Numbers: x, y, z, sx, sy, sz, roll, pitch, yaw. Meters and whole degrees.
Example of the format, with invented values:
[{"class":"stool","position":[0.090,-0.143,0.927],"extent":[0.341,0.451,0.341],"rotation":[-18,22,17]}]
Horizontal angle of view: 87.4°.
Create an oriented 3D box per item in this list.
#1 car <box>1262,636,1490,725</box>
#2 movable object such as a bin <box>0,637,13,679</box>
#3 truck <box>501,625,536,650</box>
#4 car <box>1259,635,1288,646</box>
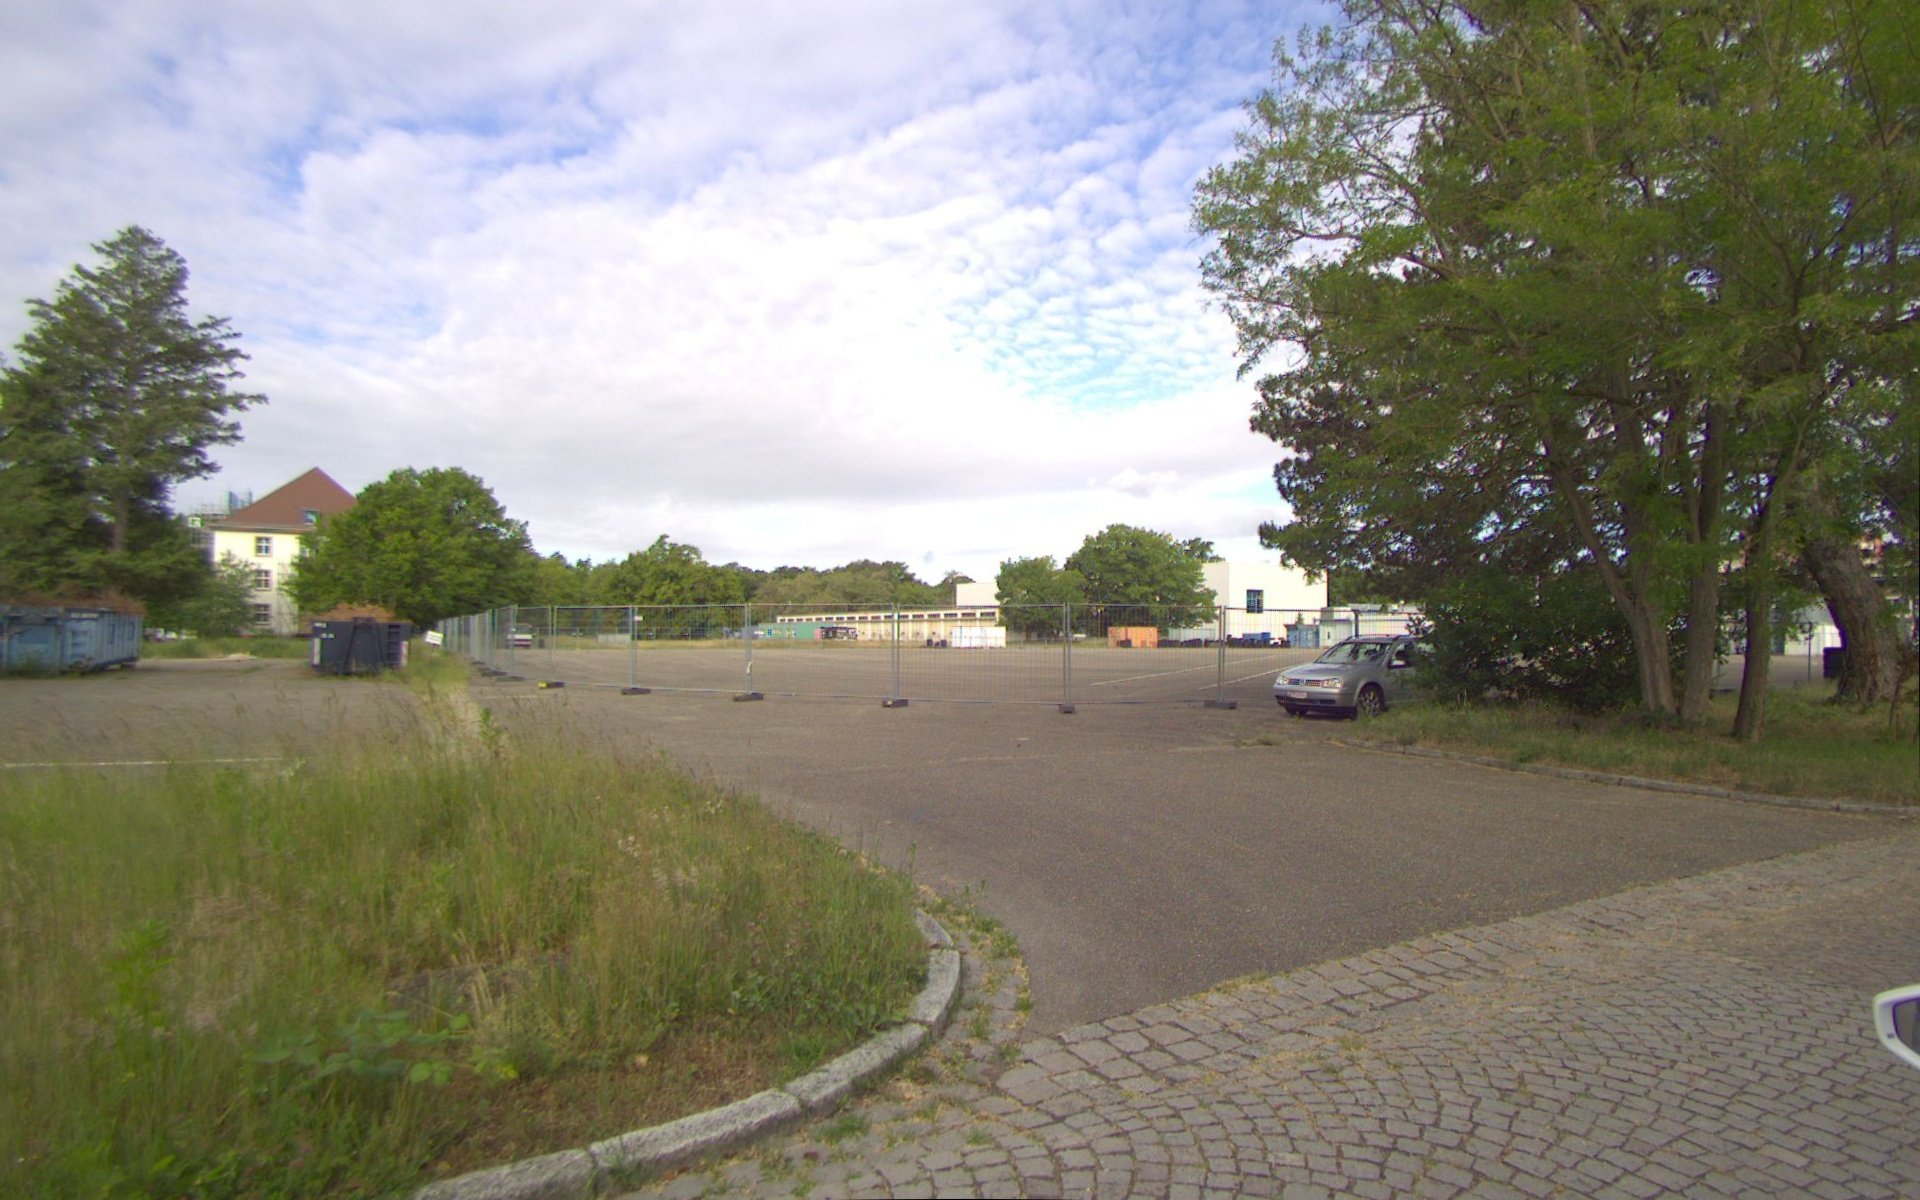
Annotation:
[{"class":"car","position":[7.742,1.406,18.576],"extent":[4.418,1.457,1.706],"rotation":[2,-2,-33]},{"class":"movable object such as a bin","position":[-22.991,1.325,22.887],"extent":[1.918,0.945,1.030],"rotation":[2,-3,-37]},{"class":"truck","position":[-41.524,3.489,94.423],"extent":[2.346,2.227,6.504],"rotation":[1,-2,-30]},{"class":"car","position":[45.256,5.872,145.045],"extent":[1.612,1.553,3.946],"rotation":[2,-2,-31]}]
